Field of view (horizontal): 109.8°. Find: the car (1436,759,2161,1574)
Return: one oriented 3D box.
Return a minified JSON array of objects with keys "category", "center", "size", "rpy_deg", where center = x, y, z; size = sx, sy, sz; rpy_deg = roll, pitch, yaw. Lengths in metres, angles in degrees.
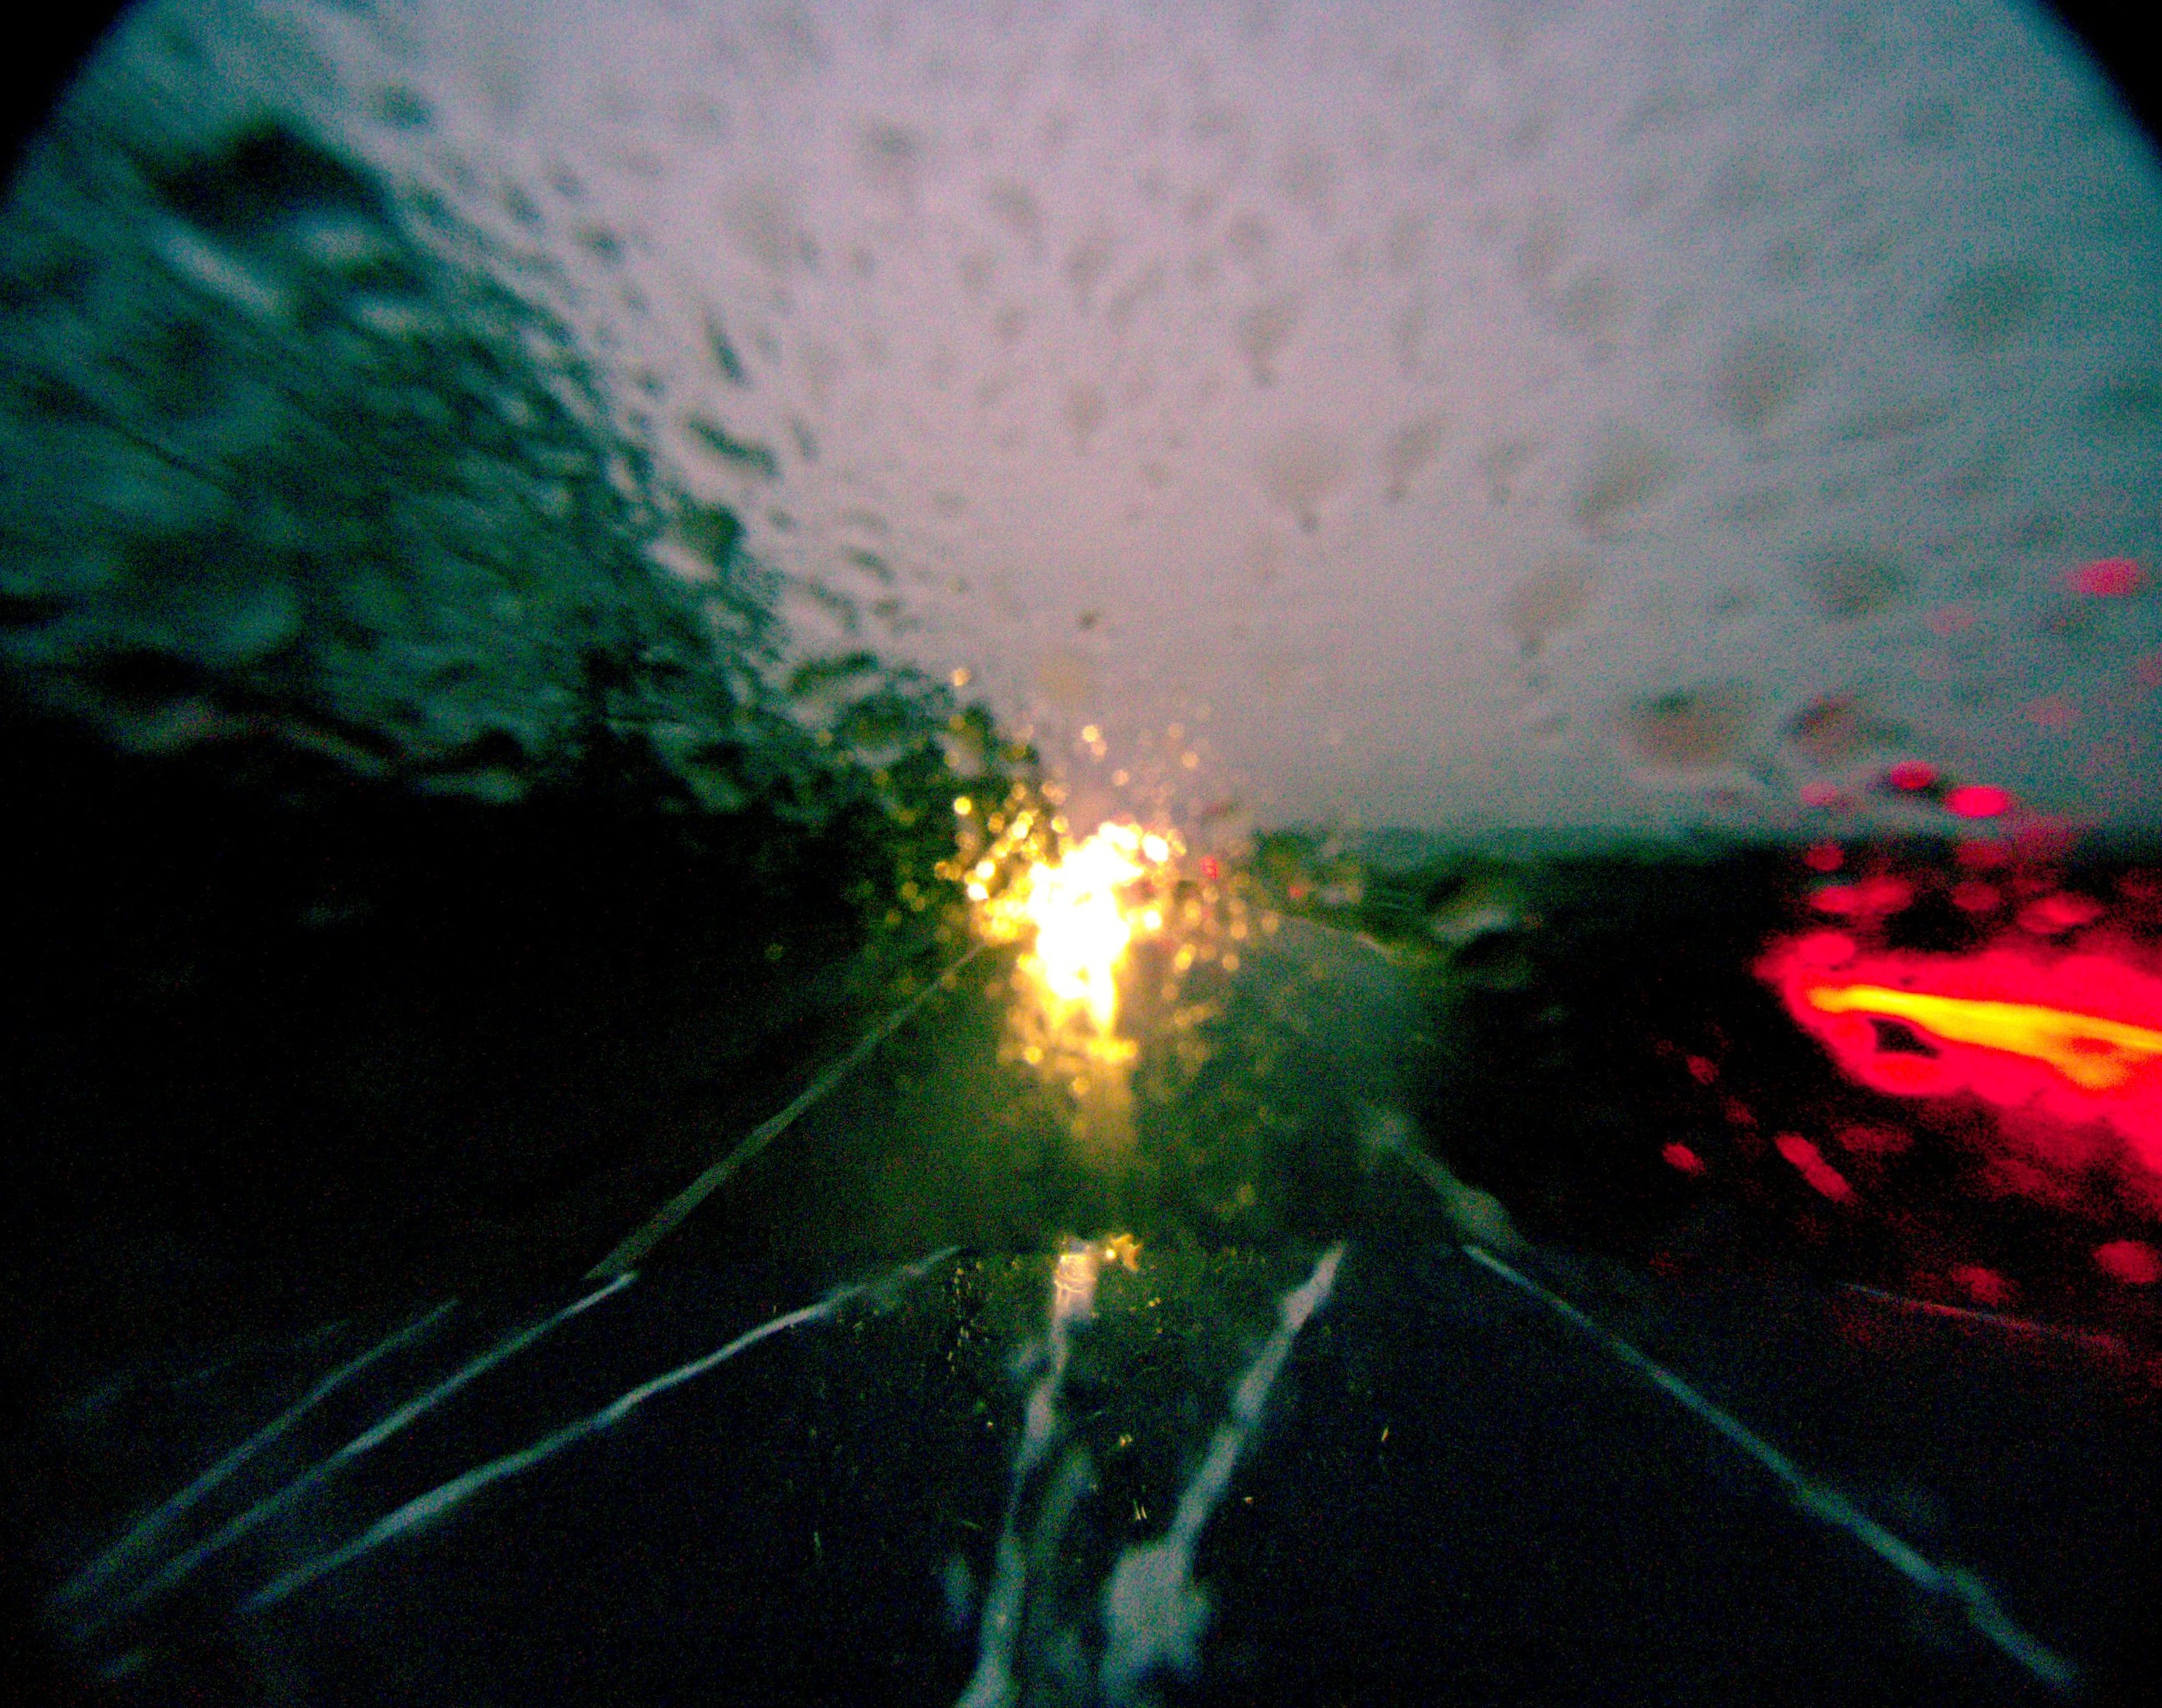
[{"category":"car","center":[3.417,0.706,3.134],"size":[1.998,1.812,4.000],"rpy_deg":[1,0,0]}]

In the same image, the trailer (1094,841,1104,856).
[{"category":"trailer","center":[5.424,-1.597,225.787],"size":[2.708,4.056,12.380],"rpy_deg":[-1,0,0]}]

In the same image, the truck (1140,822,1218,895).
[{"category":"truck","center":[3.868,0.155,31.381],"size":[2.275,2.619,7.034],"rpy_deg":[2,0,0]}]

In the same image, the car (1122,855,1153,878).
[{"category":"car","center":[3.778,0.825,51.002],"size":[1.732,1.405,4.022],"rpy_deg":[2,0,0]}]

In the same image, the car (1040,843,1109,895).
[{"category":"car","center":[-0.192,0.581,33.381],"size":[2.704,1.974,5.804],"rpy_deg":[-2,1,1]}]
